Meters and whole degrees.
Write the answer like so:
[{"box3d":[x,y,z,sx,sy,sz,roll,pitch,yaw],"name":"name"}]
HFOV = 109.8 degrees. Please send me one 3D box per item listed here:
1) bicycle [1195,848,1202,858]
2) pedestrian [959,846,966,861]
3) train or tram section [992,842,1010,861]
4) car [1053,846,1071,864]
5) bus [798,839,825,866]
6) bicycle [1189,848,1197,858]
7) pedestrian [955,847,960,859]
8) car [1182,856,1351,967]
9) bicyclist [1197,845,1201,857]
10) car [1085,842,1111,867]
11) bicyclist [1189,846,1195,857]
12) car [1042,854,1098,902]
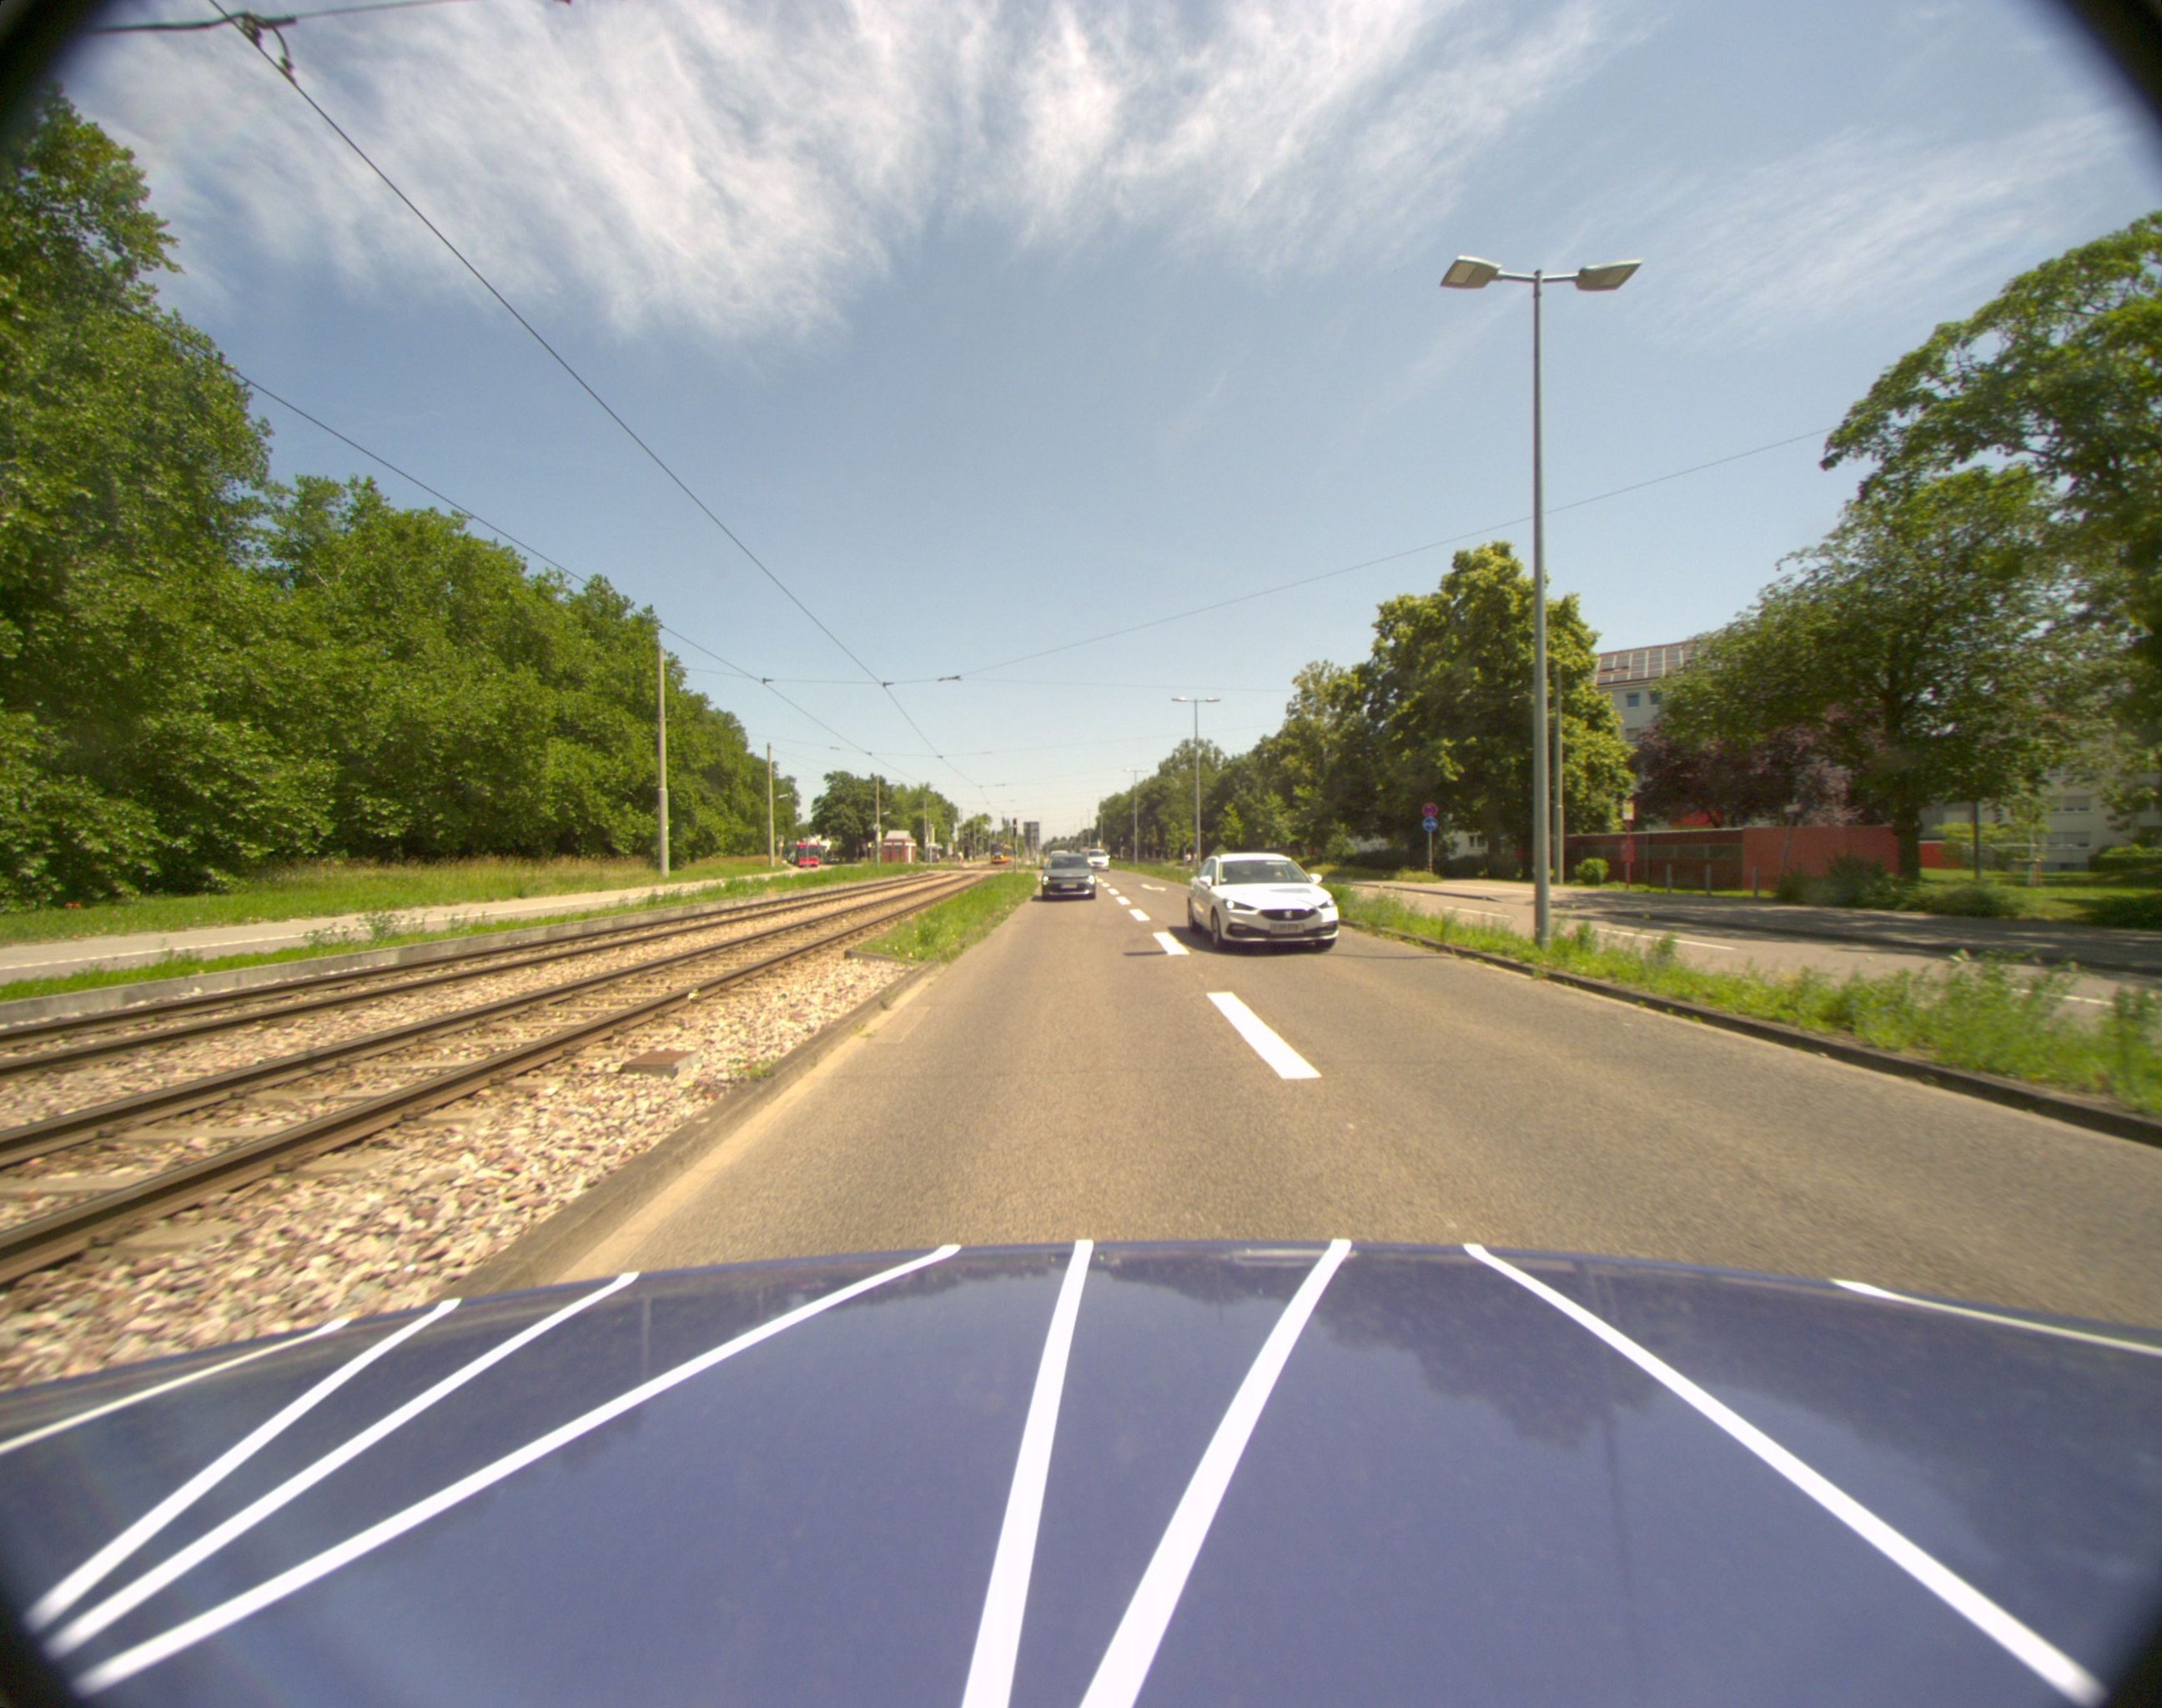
[{"box3d":[13.865,-0.134,89.413,0.555,1.088,1.379,-2,1,-1],"name":"bicycle"},{"box3d":[-14.445,-0.052,92.512,0.637,1.749,0.815,-2,2,-16],"name":"pedestrian"},{"box3d":[-13.986,-0.473,133.407,2.525,3.303,7.258,0,0,-2],"name":"train or tram section"},{"box3d":[-2.114,0.139,85.697,1.922,2.002,3.999,0,0,-3],"name":"car"},{"box3d":[-36.126,-0.235,101.548,2.771,3.419,12.421,-2,1,-22],"name":"bus"},{"box3d":[13.098,-0.096,89.046,0.590,1.126,1.615,0,0,-2],"name":"bicycle"},{"box3d":[-19.309,-0.158,118.923,0.707,1.754,0.657,0,1,-1],"name":"pedestrian"},{"box3d":[2.847,0.804,12.606,1.772,1.460,4.111,-2,0,0],"name":"car"},{"box3d":[13.843,-0.353,89.362,0.358,1.384,0.440,-2,1,0],"name":"bicyclist"},{"box3d":[1.389,0.013,63.735,1.999,2.002,3.999,0,1,0],"name":"car"},{"box3d":[13.089,-0.295,89.534,0.546,1.338,0.755,0,1,-3],"name":"bicyclist"},{"box3d":[-0.364,0.781,26.594,1.788,1.554,4.135,0,0,0],"name":"car"}]
